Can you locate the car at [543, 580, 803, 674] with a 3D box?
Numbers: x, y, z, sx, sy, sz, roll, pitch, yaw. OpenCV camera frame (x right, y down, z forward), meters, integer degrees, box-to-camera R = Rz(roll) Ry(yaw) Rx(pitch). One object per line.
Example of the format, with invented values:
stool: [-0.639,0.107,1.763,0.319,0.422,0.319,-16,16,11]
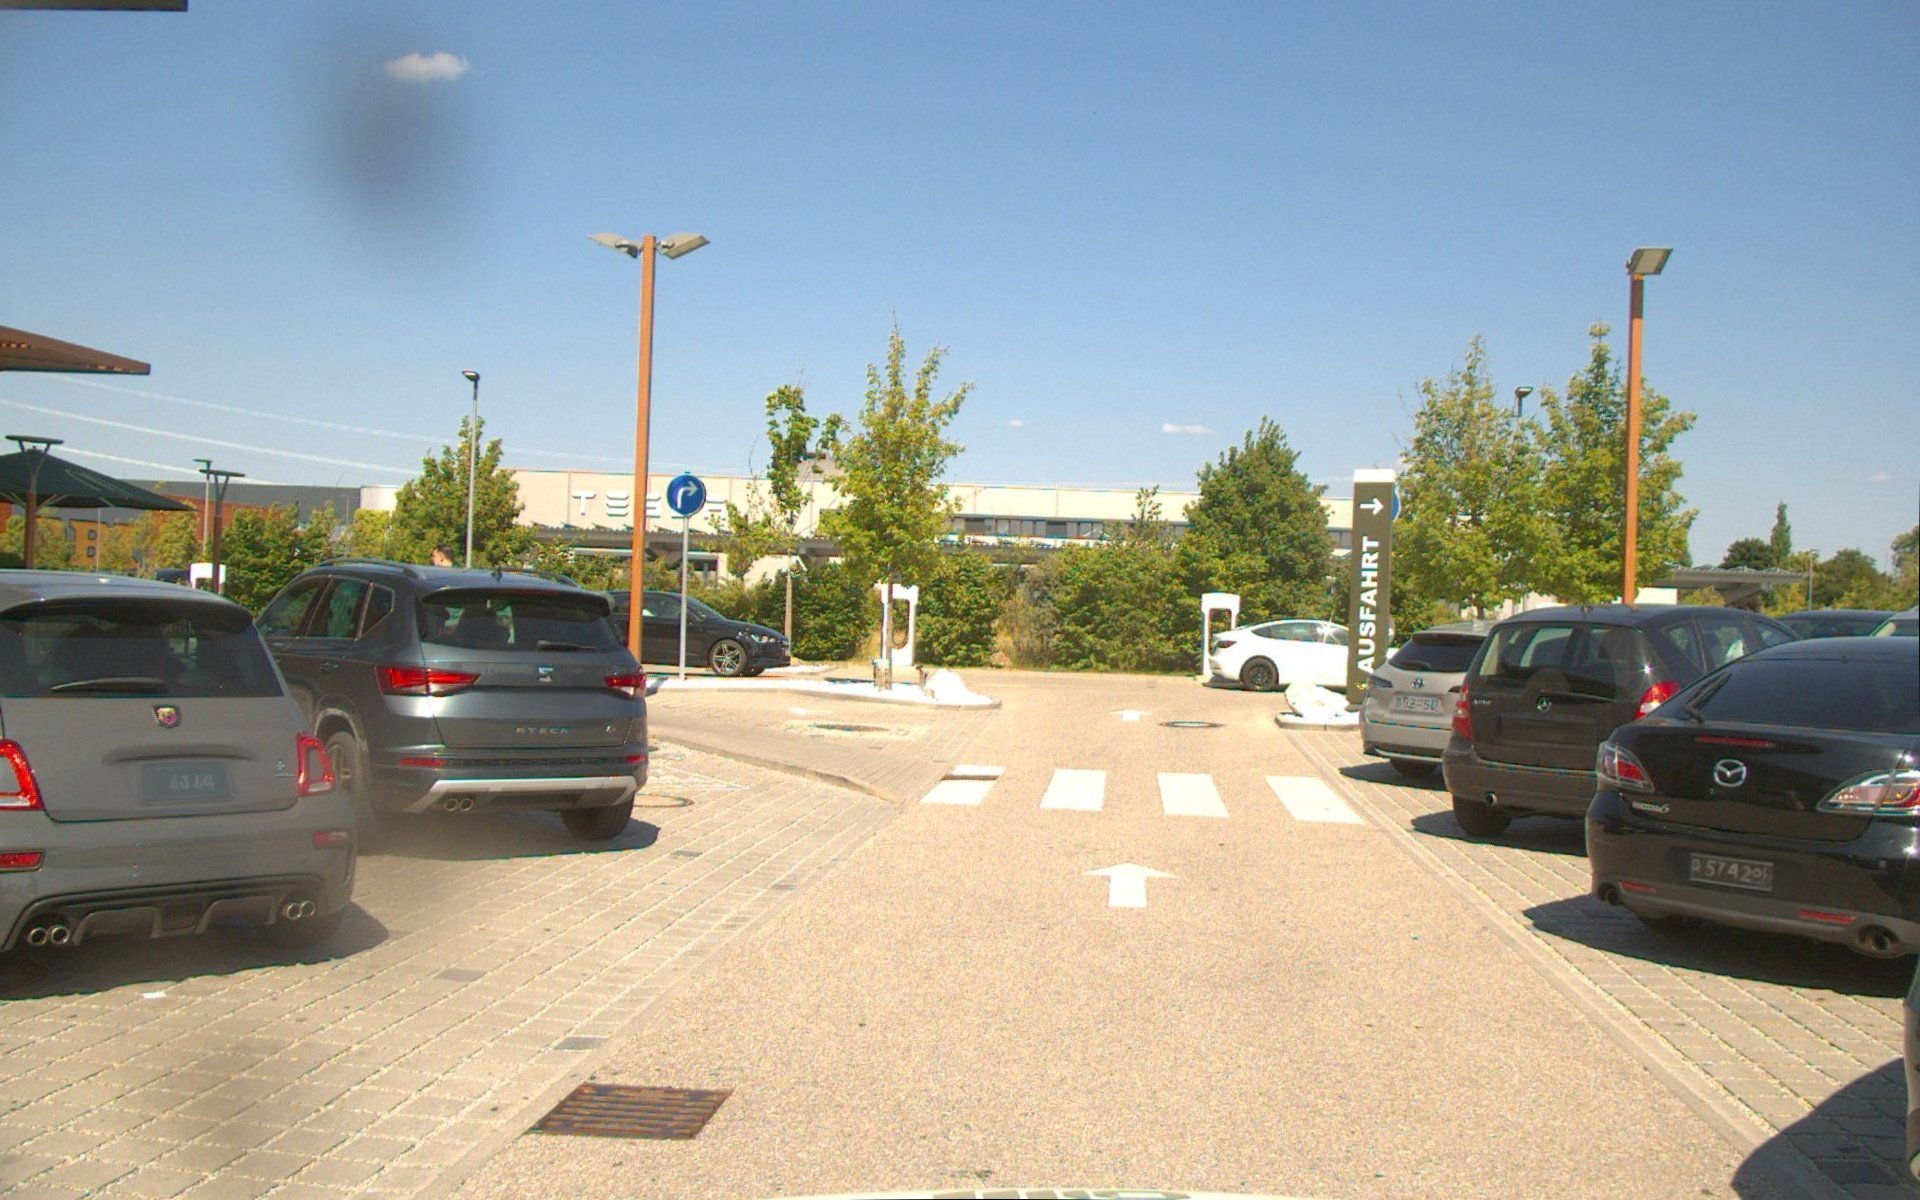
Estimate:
car: [-4.957,0.489,28.876,4.112,1.466,1.699,1,-3,5]

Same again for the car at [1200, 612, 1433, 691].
car: [7.040,0.999,32.999,4.340,1.401,1.823,1,0,5]

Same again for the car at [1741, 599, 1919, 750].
car: [11.009,0.798,19.561,4.158,1.563,1.866,1,0,-44]

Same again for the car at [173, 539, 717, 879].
car: [-3.443,0.542,10.524,1.774,1.631,4.168,4,0,-40]

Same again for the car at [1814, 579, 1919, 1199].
car: [4.174,0.784,4.259,4.497,1.537,1.861,2,0,-39]

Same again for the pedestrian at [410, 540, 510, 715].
pedestrian: [-5.327,0.284,17.656,0.784,1.799,0.896,1,0,-3]

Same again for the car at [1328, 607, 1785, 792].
car: [5.685,0.831,15.523,4.611,1.472,1.812,1,0,-37]

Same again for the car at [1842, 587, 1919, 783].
car: [9.886,0.756,15.298,4.030,1.668,1.722,1,0,-41]

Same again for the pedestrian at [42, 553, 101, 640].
pedestrian: [-13.432,-0.052,25.017,0.511,1.280,0.635,1,0,2]

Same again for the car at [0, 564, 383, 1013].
car: [-4.024,0.609,7.138,3.358,1.508,1.557,2,0,44]

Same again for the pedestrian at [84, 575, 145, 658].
pedestrian: [-13.282,0.256,25.994,0.559,1.280,0.730,1,0,1]

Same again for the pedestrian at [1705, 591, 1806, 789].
pedestrian: [7.207,0.801,14.996,0.556,1.743,0.604,1,0,-31]

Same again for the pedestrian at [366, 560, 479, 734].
pedestrian: [-5.140,0.435,15.844,0.711,1.611,0.742,1,0,15]

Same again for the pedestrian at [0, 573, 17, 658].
pedestrian: [-14.807,0.229,25.123,0.511,1.280,0.716,1,0,2]

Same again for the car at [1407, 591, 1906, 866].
car: [5.097,0.804,11.864,3.965,1.621,1.784,2,0,-42]

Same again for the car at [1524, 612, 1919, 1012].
car: [4.755,0.849,8.122,4.031,1.474,1.805,2,0,-37]
